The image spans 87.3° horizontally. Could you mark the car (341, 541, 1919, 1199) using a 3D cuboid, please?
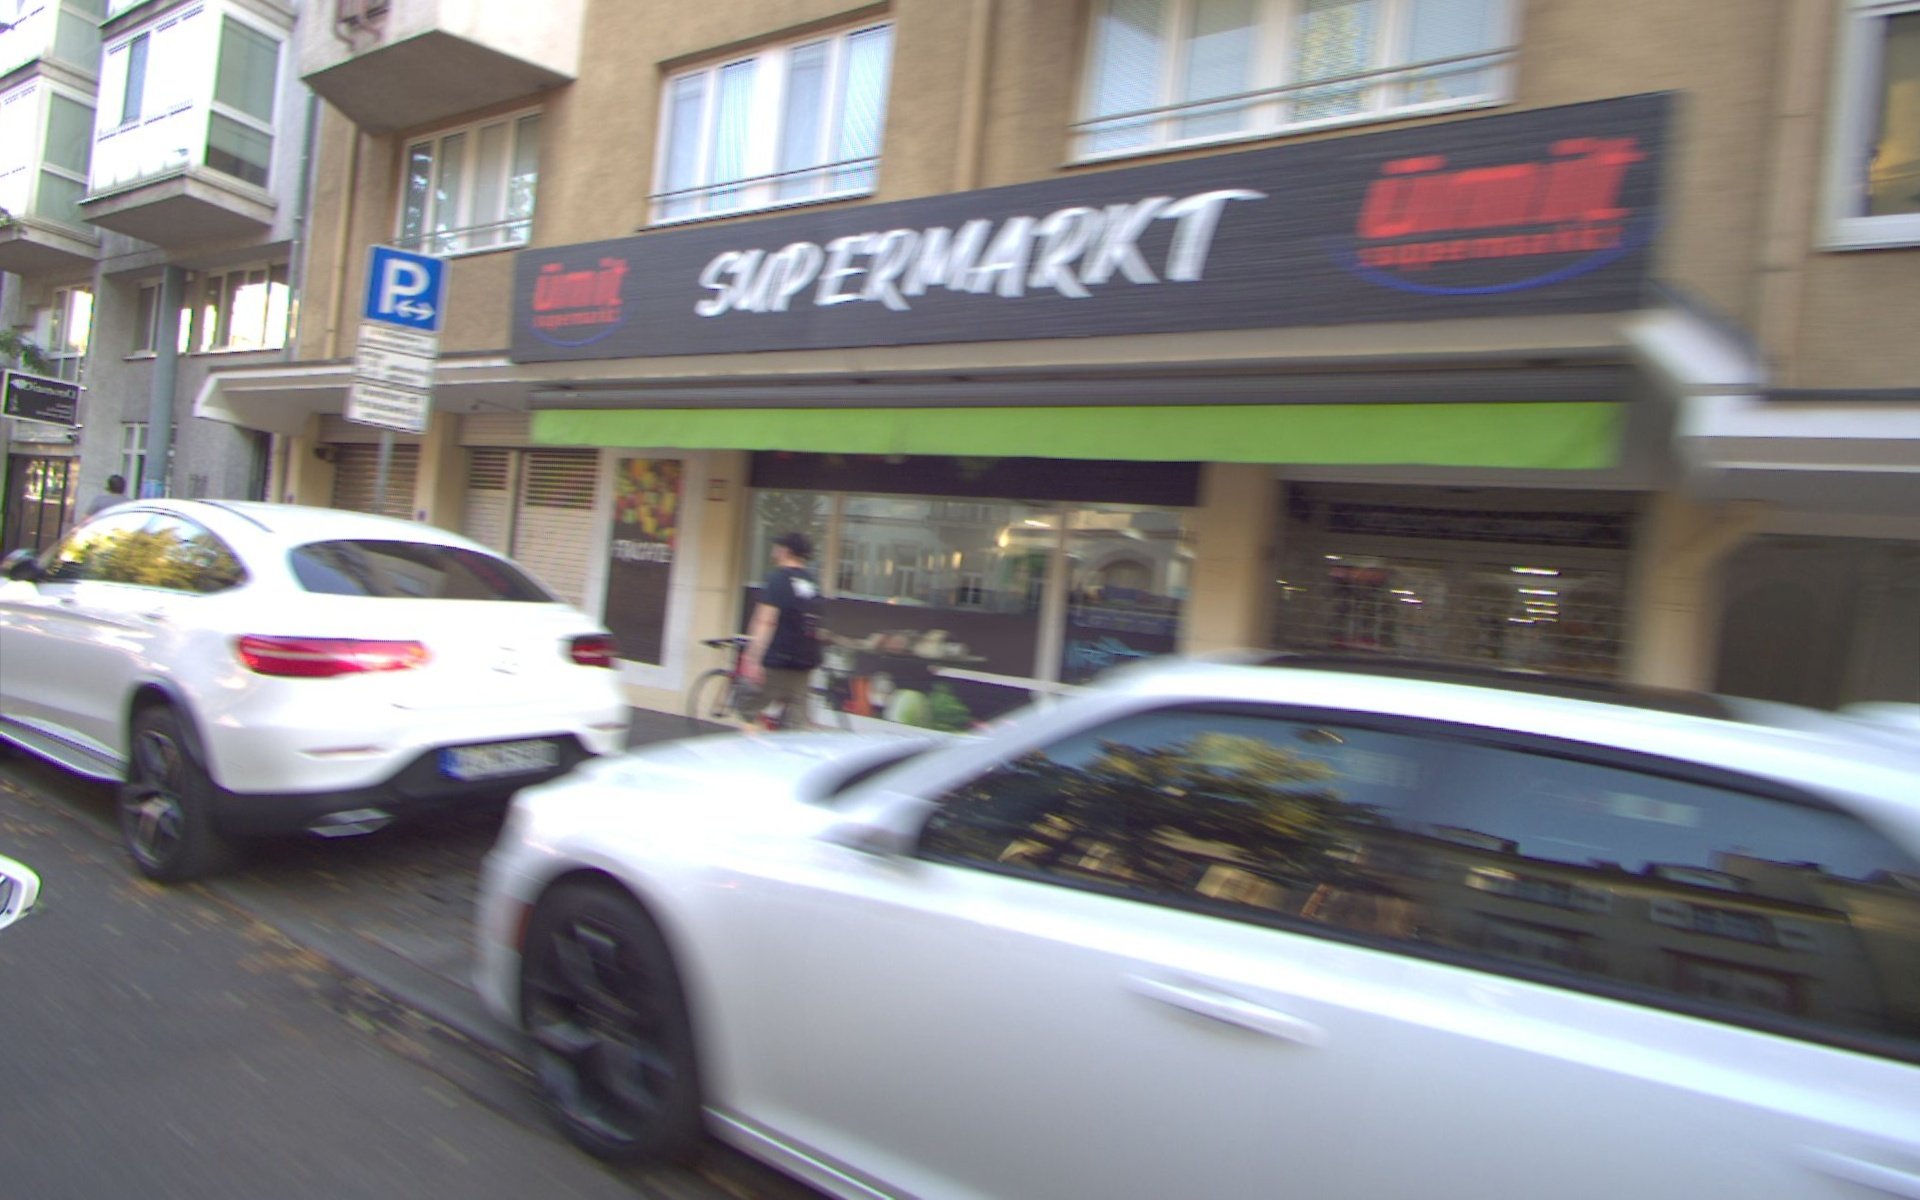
[{"bbox_3d":[0.730,0.835,2.631,5.103,1.500,1.842,6,2,31],"label":"car"}]

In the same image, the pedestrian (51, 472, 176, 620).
[{"bbox_3d":[-11.196,-0.701,13.312,0.979,1.817,0.857,7,1,28],"label":"pedestrian"}]

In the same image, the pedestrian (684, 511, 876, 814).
[{"bbox_3d":[-1.115,0.368,6.315,0.689,1.726,0.788,7,2,31],"label":"pedestrian"}]

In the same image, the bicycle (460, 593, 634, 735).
[{"bbox_3d":[-3.457,0.507,8.380,1.524,0.970,0.459,6,1,31],"label":"bicycle"}]

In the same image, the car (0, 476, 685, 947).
[{"bbox_3d":[-3.903,0.260,5.583,4.614,1.595,1.879,6,2,32],"label":"car"}]
